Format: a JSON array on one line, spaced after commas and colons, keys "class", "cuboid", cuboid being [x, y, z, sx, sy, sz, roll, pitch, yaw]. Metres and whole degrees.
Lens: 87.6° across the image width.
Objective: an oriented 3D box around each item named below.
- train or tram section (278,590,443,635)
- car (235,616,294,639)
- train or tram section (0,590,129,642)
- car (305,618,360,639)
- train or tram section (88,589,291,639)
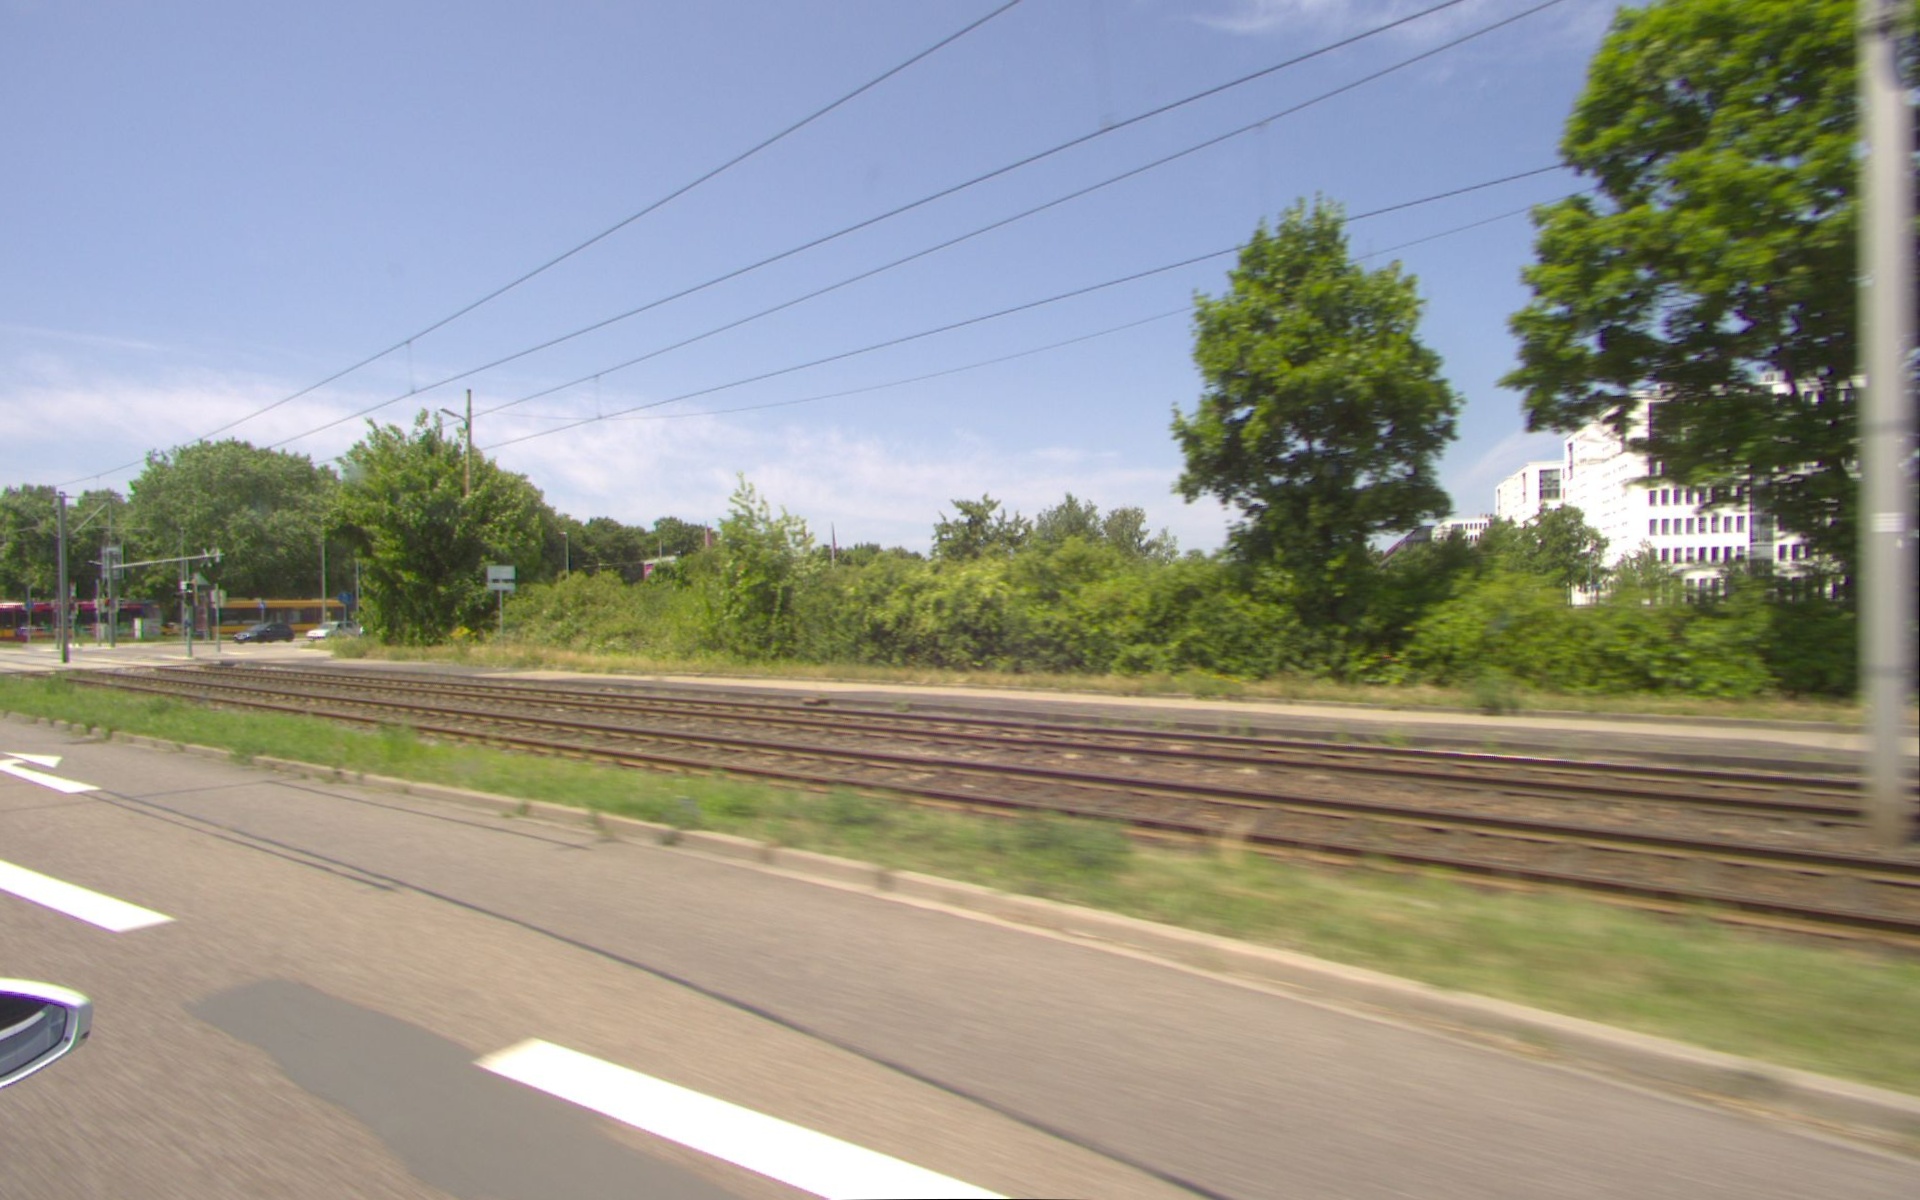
[{"class": "train or tram section", "cuboid": [-57.989, 1.328, 97.549, 2.886, 3.967, 13.883, -4, -4, 35]}, {"class": "car", "cuboid": [-50.254, 1.968, 72.445, 1.608, 1.482, 3.508, -1, 0, 5]}, {"class": "train or tram section", "cuboid": [-77.514, 1.415, 83.157, 13.205, 3.858, 2.924, -2, -3, -12]}, {"class": "car", "cuboid": [-46.907, 2.087, 74.926, 1.608, 1.482, 3.806, -1, 0, 2]}, {"class": "train or tram section", "cuboid": [-67.267, 1.219, 87.983, 13.880, 3.967, 2.903, 0, -3, -39]}]
